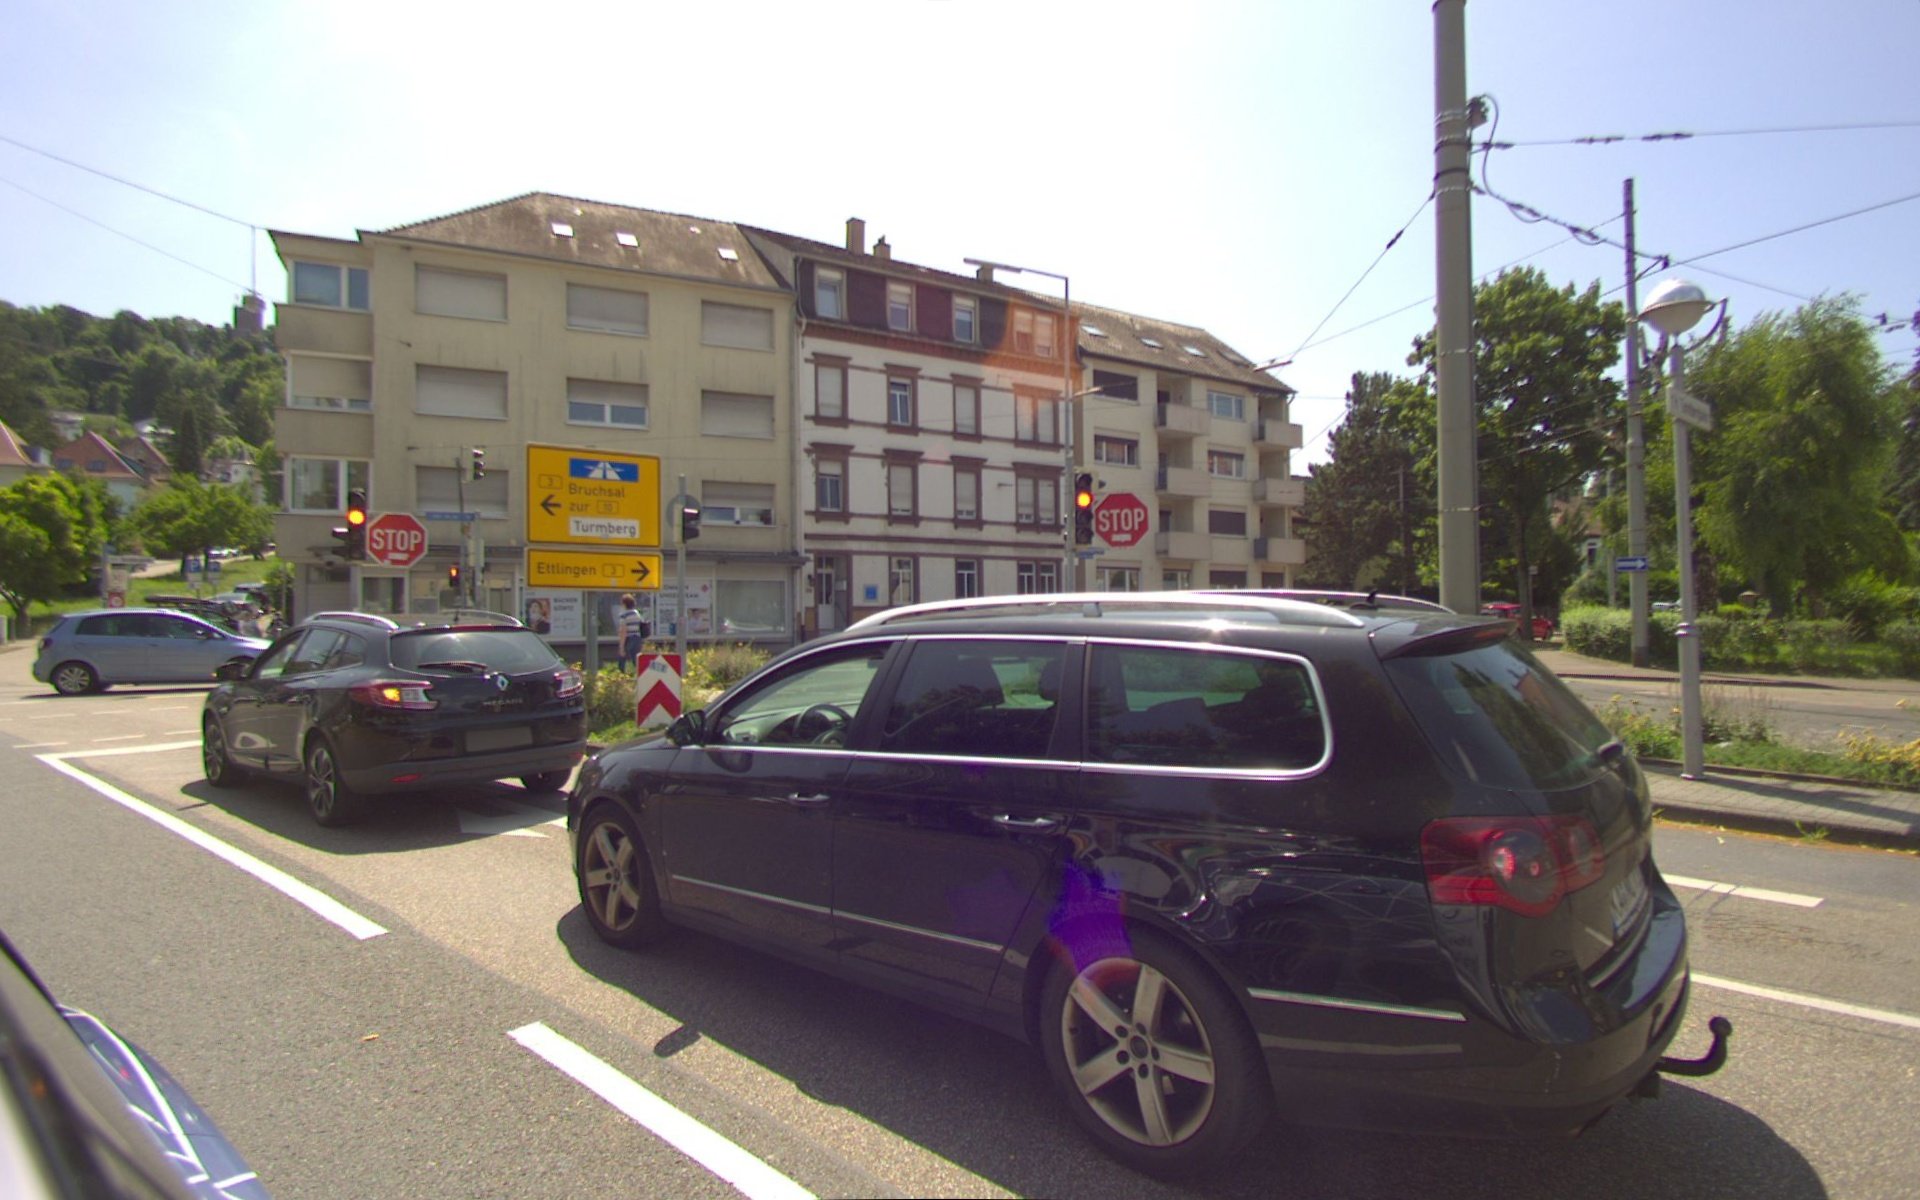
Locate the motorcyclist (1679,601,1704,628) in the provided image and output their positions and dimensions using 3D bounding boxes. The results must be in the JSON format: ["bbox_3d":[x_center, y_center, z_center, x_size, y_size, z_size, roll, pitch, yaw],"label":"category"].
[{"bbox_3d":[39.376,0.783,54.482,1.002,1.456,0.715,0,-1,-30],"label":"motorcyclist"}]

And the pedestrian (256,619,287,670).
[{"bbox_3d":[-20.748,1.328,30.510,0.637,1.487,0.690,0,-1,-22],"label":"pedestrian"}]

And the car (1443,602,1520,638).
[{"bbox_3d":[27.692,1.029,53.707,3.969,1.730,1.810,0,2,-32],"label":"car"}]

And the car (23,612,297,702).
[{"bbox_3d":[-15.353,1.038,19.725,3.931,1.580,1.765,0,-1,-28],"label":"car"}]

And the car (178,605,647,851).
[{"bbox_3d":[-4.712,0.834,8.419,4.422,1.511,1.973,-1,-1,40],"label":"car"}]

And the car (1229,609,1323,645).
[{"bbox_3d":[14.068,1.186,45.006,3.934,1.521,2.005,0,-2,-36],"label":"car"}]

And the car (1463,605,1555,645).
[{"bbox_3d":[23.053,1.027,42.463,3.971,1.569,1.809,0,-1,-36],"label":"car"}]

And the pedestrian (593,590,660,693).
[{"bbox_3d":[-5.723,0.694,17.362,0.837,1.718,0.752,-2,-1,40],"label":"pedestrian"}]

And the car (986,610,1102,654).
[{"bbox_3d":[3.126,1.159,37.432,3.934,1.530,2.005,1,-1,-37],"label":"car"}]

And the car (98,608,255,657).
[{"bbox_3d":[-28.783,1.178,37.362,1.981,1.676,4.309,-1,-1,14],"label":"car"}]

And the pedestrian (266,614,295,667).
[{"bbox_3d":[-21.423,1.260,31.914,0.637,1.645,0.690,0,-1,-22],"label":"pedestrian"}]

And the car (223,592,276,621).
[{"bbox_3d":[-38.609,0.314,55.077,1.778,1.398,4.014,0,3,-26],"label":"car"}]

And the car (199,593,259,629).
[{"bbox_3d":[-36.348,0.500,50.407,1.778,1.562,4.014,0,3,-26],"label":"car"}]

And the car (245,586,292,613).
[{"bbox_3d":[-41.242,-0.038,60.443,1.778,1.431,4.014,0,3,-26],"label":"car"}]

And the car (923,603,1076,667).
[{"bbox_3d":[1.115,0.936,28.291,3.932,1.644,1.765,0,0,-31],"label":"car"}]

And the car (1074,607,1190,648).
[{"bbox_3d":[6.803,1.059,39.836,4.308,1.521,2.005,0,-2,-35],"label":"car"}]

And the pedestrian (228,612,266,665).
[{"bbox_3d":[-22.359,1.204,31.744,0.808,1.645,0.807,0,-1,-22],"label":"pedestrian"}]

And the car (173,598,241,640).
[{"bbox_3d":[-34.079,0.807,45.893,1.778,1.628,4.014,0,3,-26],"label":"car"}]

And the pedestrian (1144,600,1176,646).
[{"bbox_3d":[8.561,0.965,43.321,0.961,1.946,0.940,0,-2,-35],"label":"pedestrian"}]

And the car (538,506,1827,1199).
[{"bbox_3d":[0.356,0.658,3.929,4.511,1.531,1.972,-2,-1,42],"label":"car"}]
